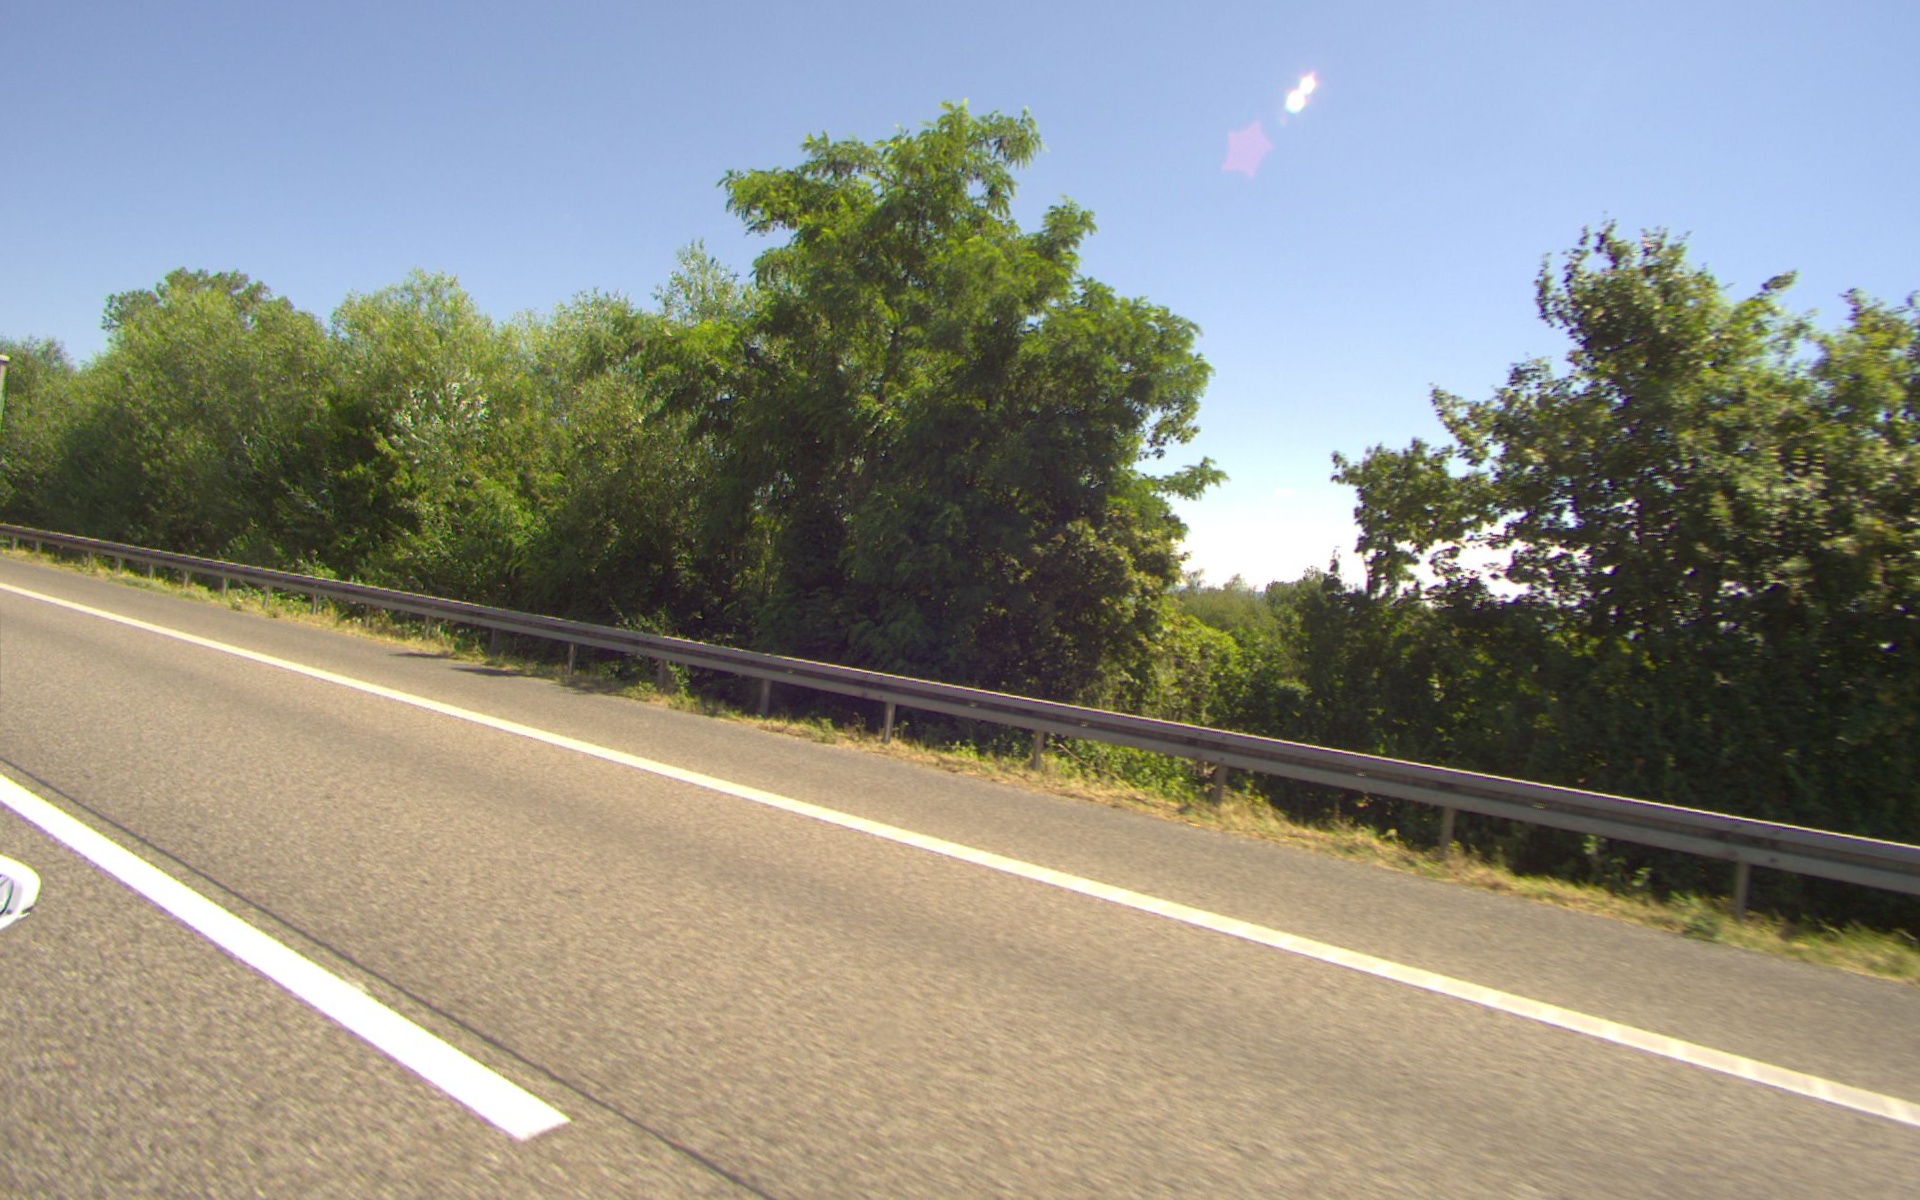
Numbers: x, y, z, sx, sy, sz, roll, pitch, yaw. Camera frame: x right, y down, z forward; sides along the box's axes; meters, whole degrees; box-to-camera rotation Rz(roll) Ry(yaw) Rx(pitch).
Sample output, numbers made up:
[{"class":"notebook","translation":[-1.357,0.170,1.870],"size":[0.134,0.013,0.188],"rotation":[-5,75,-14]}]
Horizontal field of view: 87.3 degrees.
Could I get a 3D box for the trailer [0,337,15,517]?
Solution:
[{"class":"trailer","translation":[-23.269,-3.214,20.371],"size":[12.995,4.269,2.705],"rotation":[6,1,32]}]
